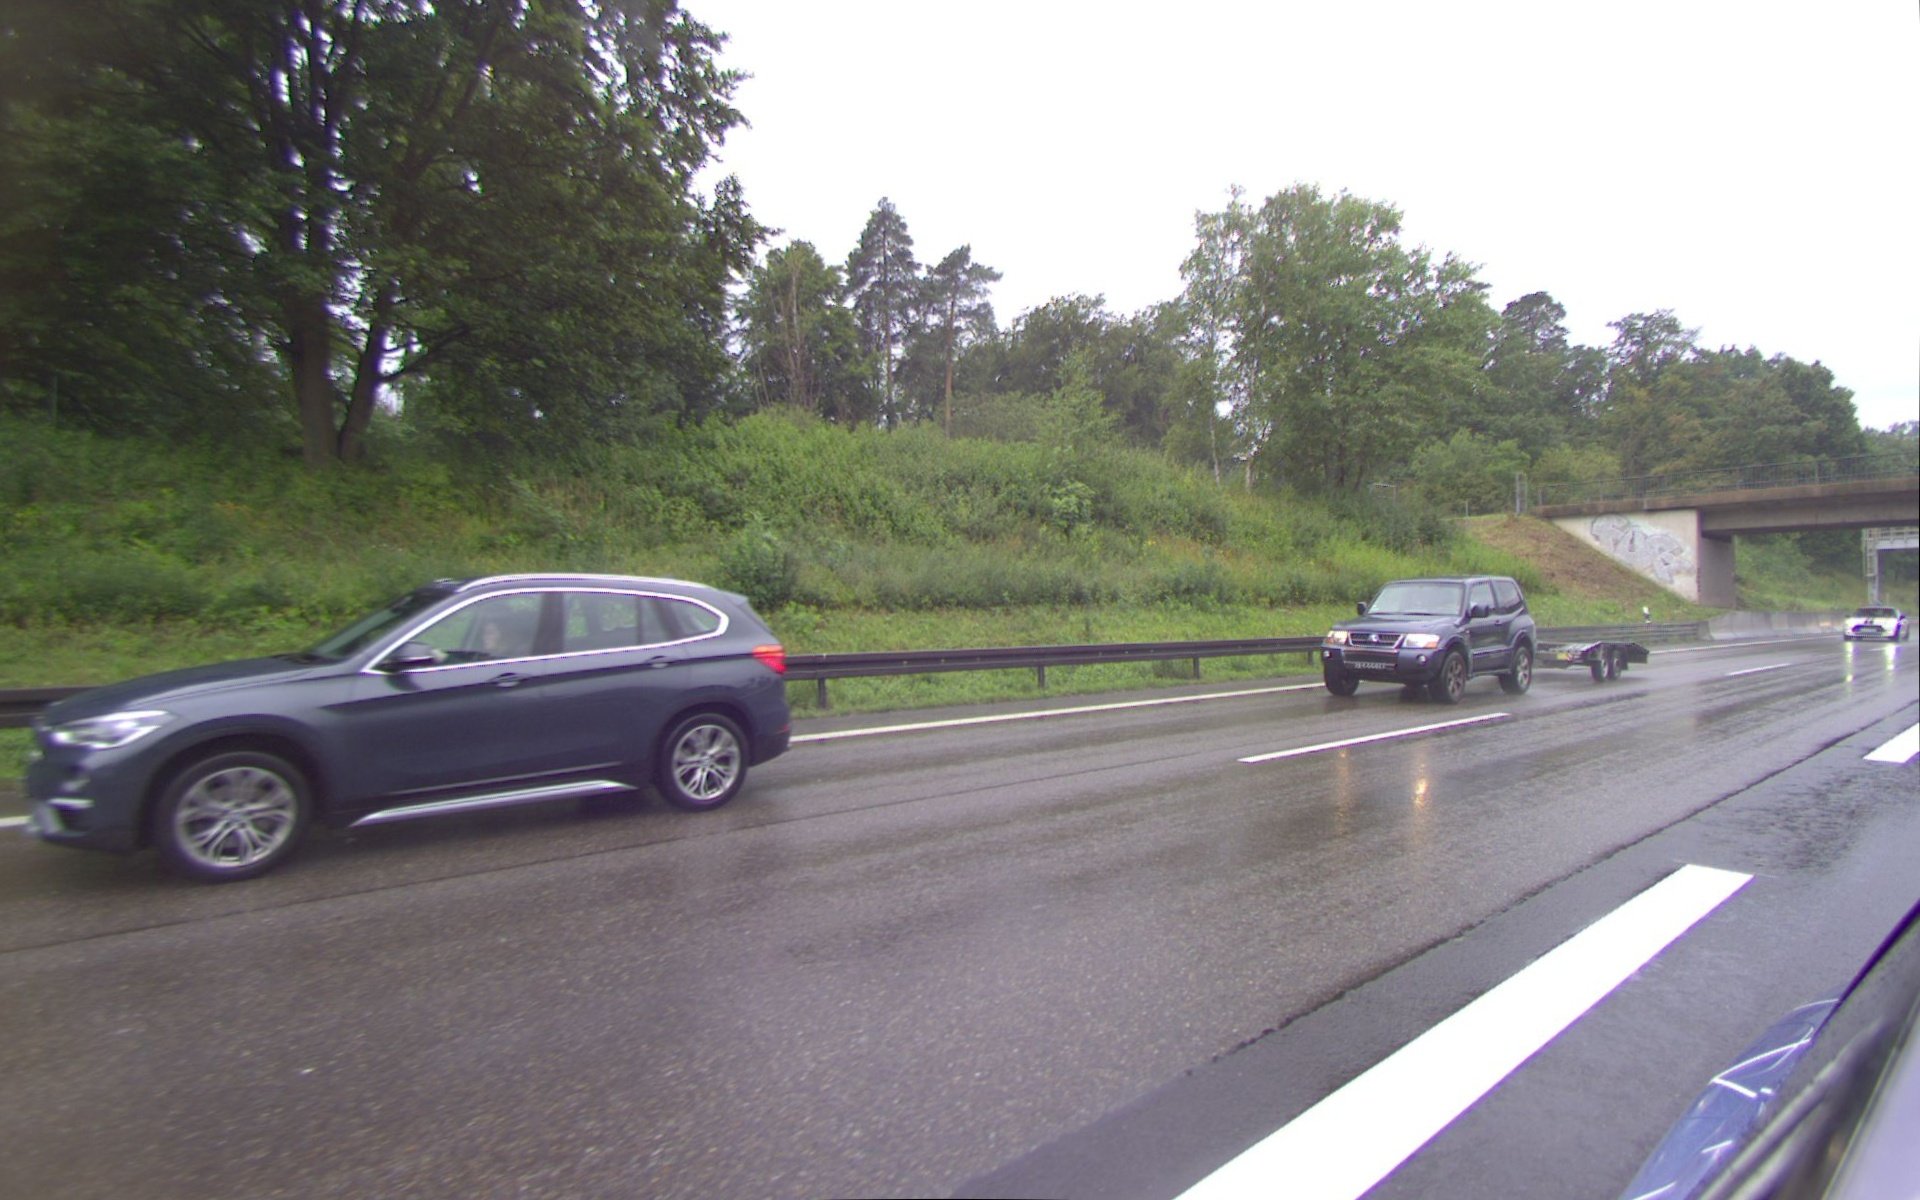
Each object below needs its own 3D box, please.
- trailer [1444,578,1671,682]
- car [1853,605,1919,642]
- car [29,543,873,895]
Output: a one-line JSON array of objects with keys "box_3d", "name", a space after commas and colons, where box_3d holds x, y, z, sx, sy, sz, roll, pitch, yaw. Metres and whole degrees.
[{"box_3d": [11.544, 0.490, 19.416, 4.992, 1.736, 2.248, 0, 0, -40], "name": "trailer"}, {"box_3d": [38.313, 0.944, 41.635, 4.153, 1.425, 1.794, 0, 0, -40], "name": "car"}, {"box_3d": [-3.083, 0.536, 6.901, 4.682, 1.603, 1.994, 0, 0, -40], "name": "car"}]
